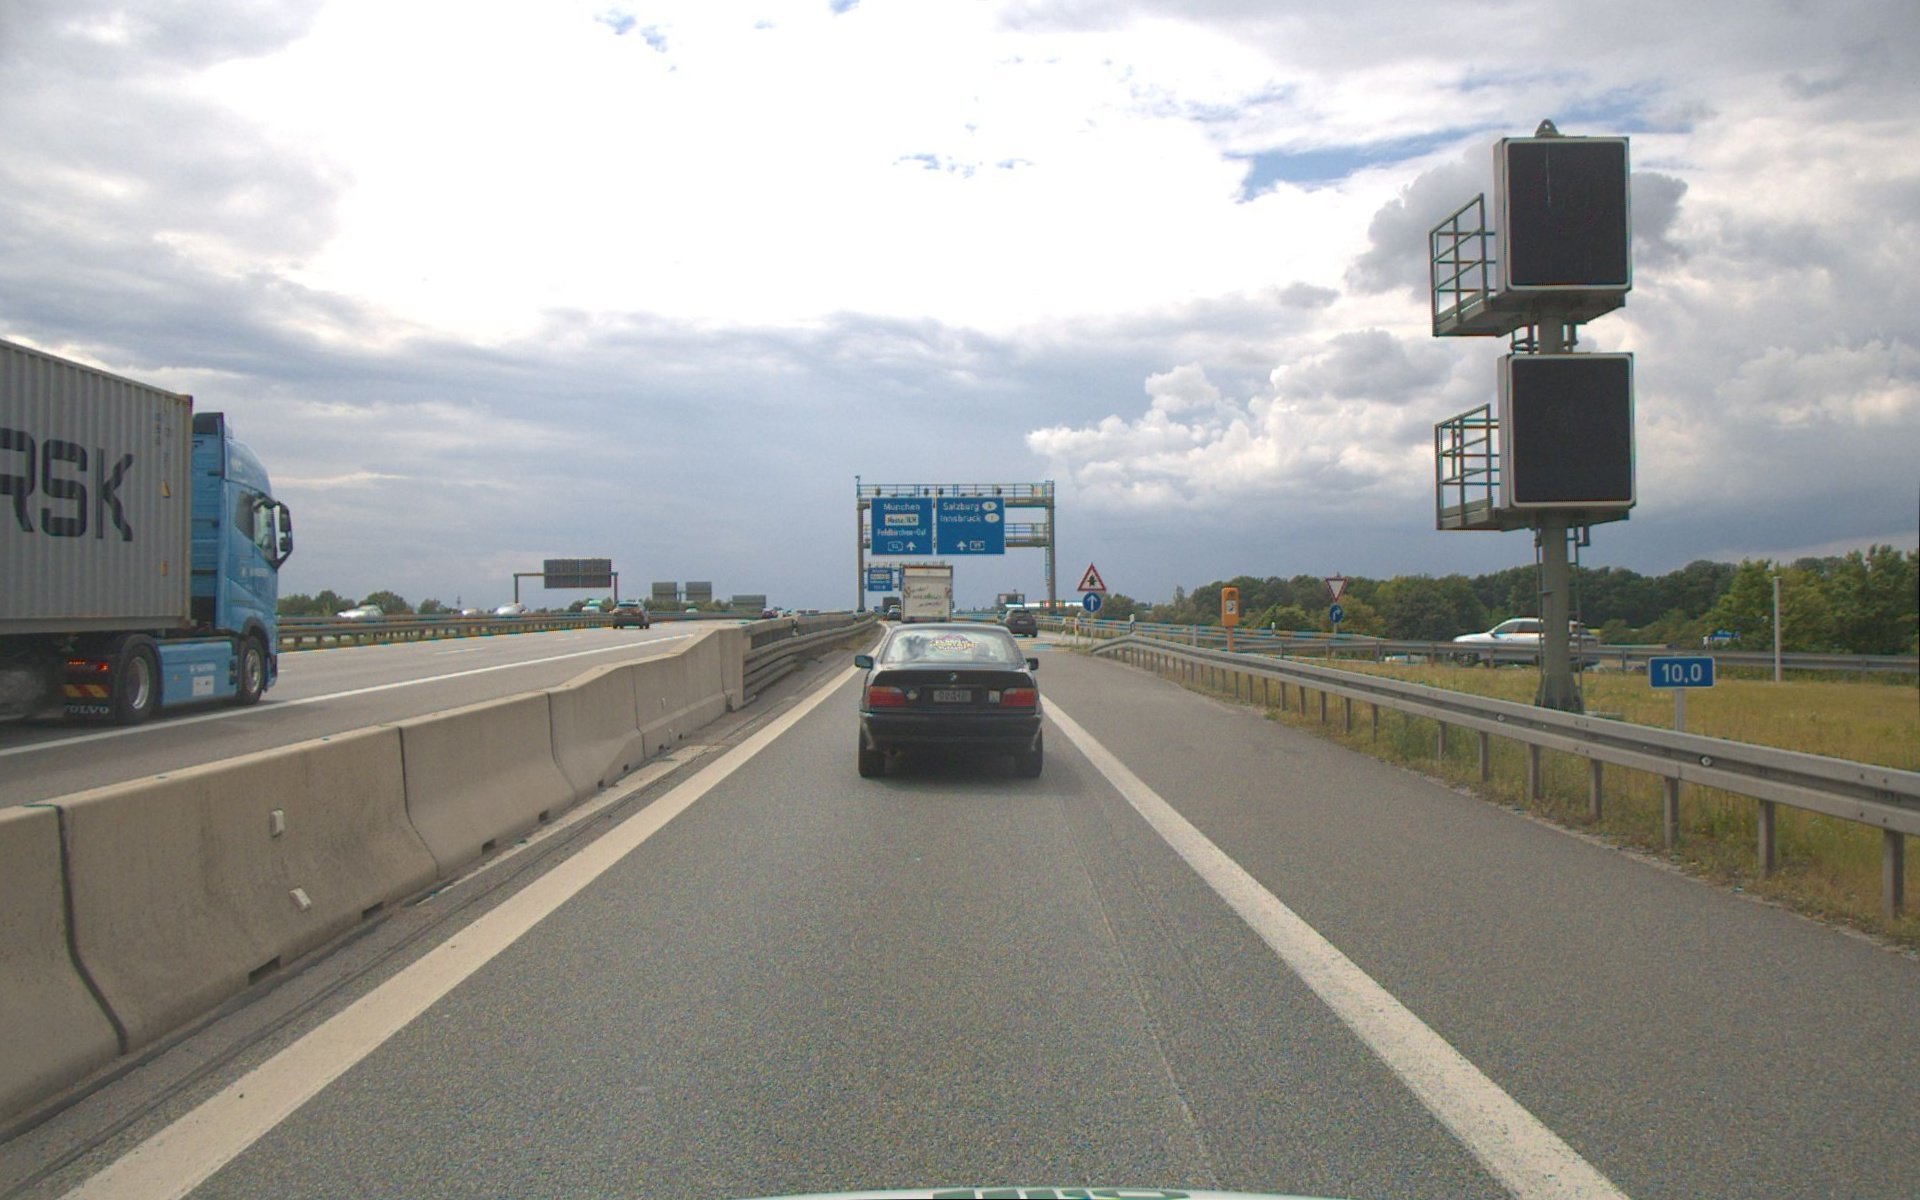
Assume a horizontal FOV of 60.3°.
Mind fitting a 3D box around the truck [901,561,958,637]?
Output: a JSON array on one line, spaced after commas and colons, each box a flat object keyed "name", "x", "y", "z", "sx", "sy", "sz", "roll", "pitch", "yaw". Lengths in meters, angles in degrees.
[{"name": "truck", "x": -1.382, "y": -0.031, "z": 72.774, "sx": 2.356, "sy": 3.144, "sz": 6.367, "roll": 1, "pitch": 0, "yaw": -2}]

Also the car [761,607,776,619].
[{"name": "car", "x": -28.024, "y": 1.897, "z": 241.846, "sx": 1.954, "sy": 1.691, "sz": 4.380, "roll": 0, "pitch": 0, "yaw": -5}]

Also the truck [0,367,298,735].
[{"name": "truck", "x": -11.265, "y": -0.533, "z": 21.167, "sx": 3.182, "sy": 3.980, "sz": 6.605, "roll": 1, "pitch": 0, "yaw": -3}]

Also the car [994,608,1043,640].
[{"name": "car", "x": 2.994, "y": 1.236, "z": 85.842, "sx": 1.955, "sy": 1.579, "sz": 3.994, "roll": 1, "pitch": 0, "yaw": -7}]

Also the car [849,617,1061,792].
[{"name": "car", "x": -0.050, "y": 0.890, "z": 15.761, "sx": 1.746, "sy": 1.402, "sz": 4.136, "roll": 0, "pitch": 0, "yaw": 0}]

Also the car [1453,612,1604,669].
[{"name": "car", "x": 17.948, "y": 1.269, "z": 52.308, "sx": 1.927, "sy": 1.714, "sz": 4.141, "roll": 3, "pitch": -3, "yaw": -44}]

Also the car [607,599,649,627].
[{"name": "car", "x": -19.724, "y": 0.753, "z": 98.399, "sx": 1.855, "sy": 1.625, "sz": 4.414, "roll": 0, "pitch": 0, "yaw": -4}]

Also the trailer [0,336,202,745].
[{"name": "trailer", "x": -10.882, "y": -0.614, "z": 14.788, "sx": 3.172, "sy": 3.993, "sz": 12.369, "roll": 1, "pitch": 0, "yaw": -4}]
